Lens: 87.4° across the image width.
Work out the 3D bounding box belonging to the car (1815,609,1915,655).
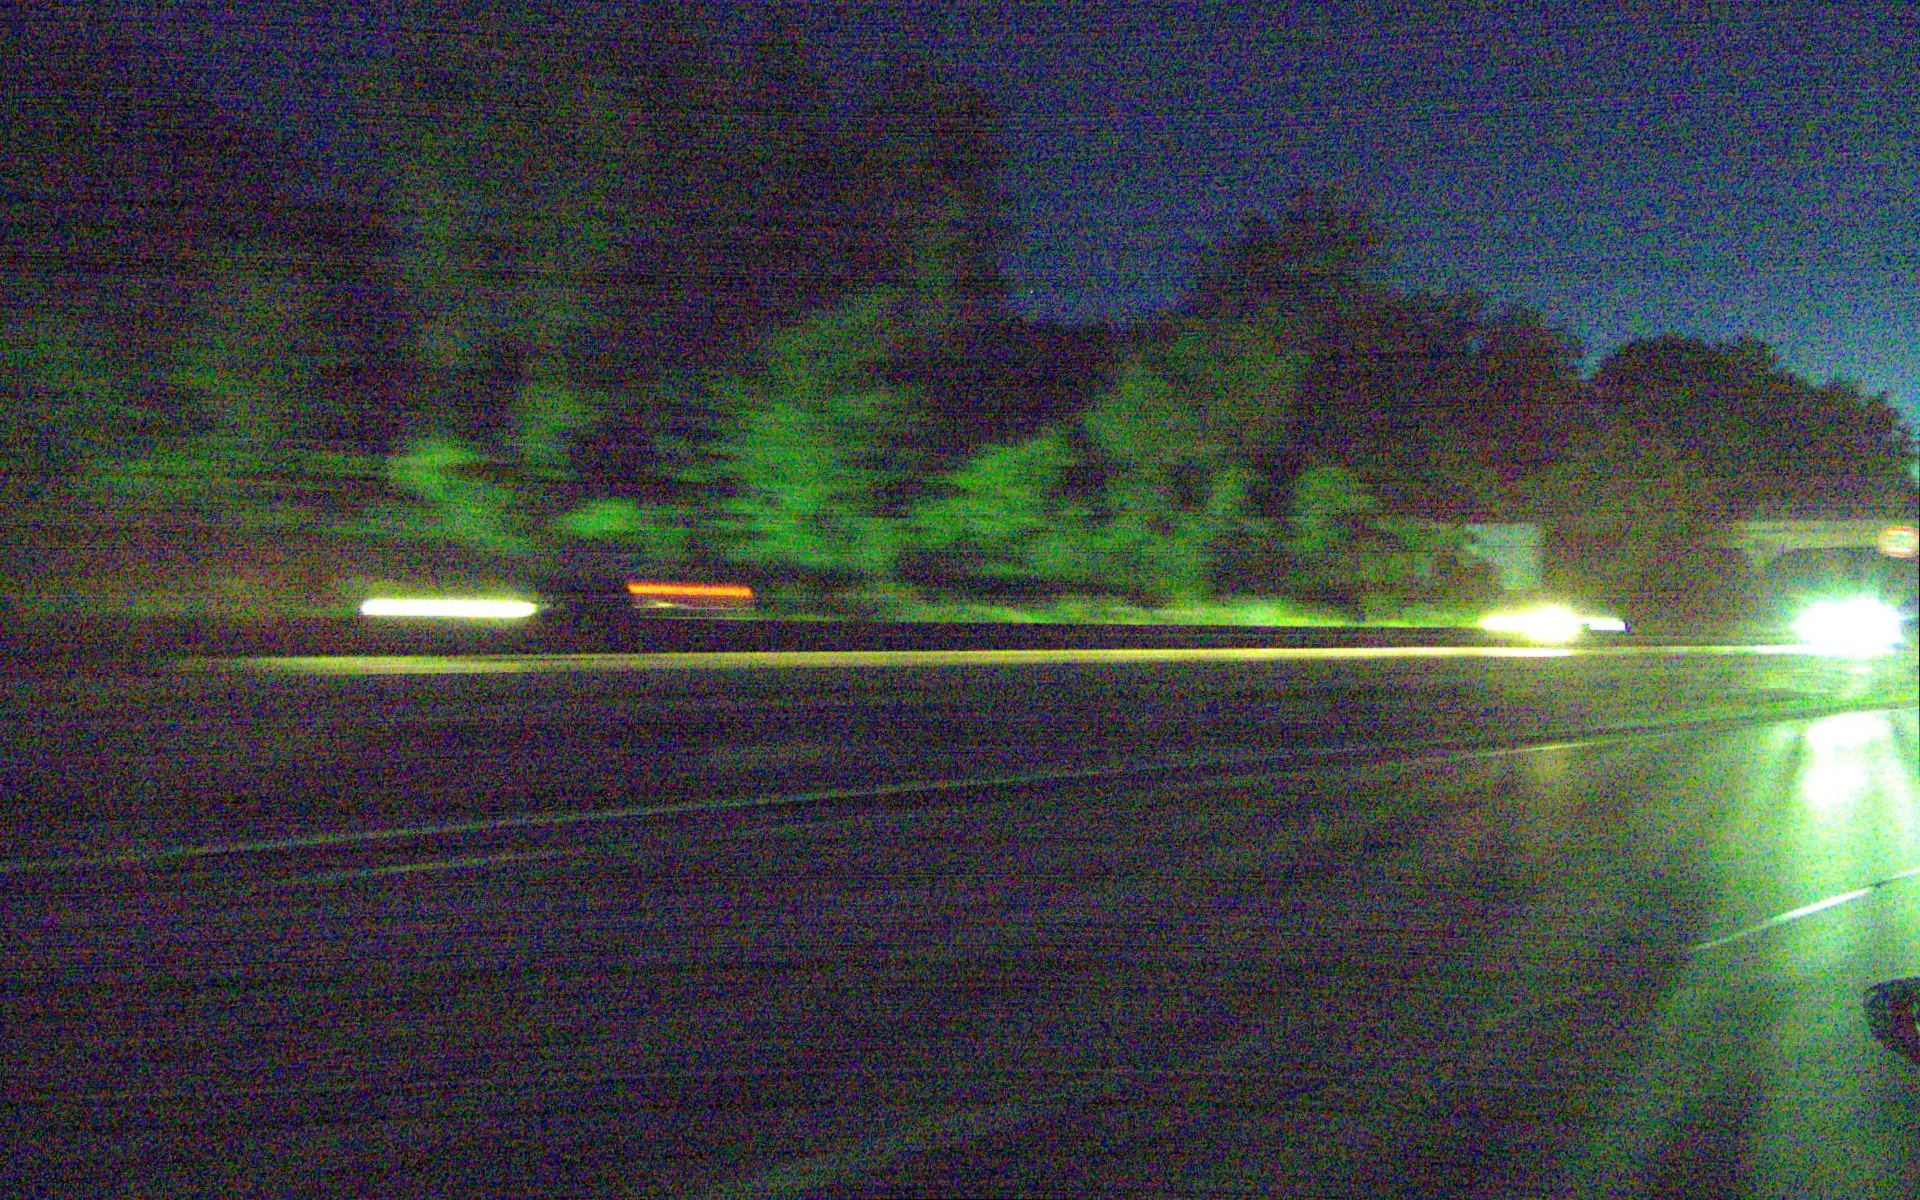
[{"bbox_3d":[39.125,1.368,43.411,4.978,1.787,1.955,1,1,-33],"label":"car"}]

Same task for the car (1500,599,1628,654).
[{"bbox_3d":[18.549,0.808,30.793,4.114,1.537,1.718,1,1,-33],"label":"car"}]

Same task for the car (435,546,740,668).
[{"bbox_3d":[-5.542,0.113,15.027,3.956,1.535,1.850,2,4,-32],"label":"car"}]
